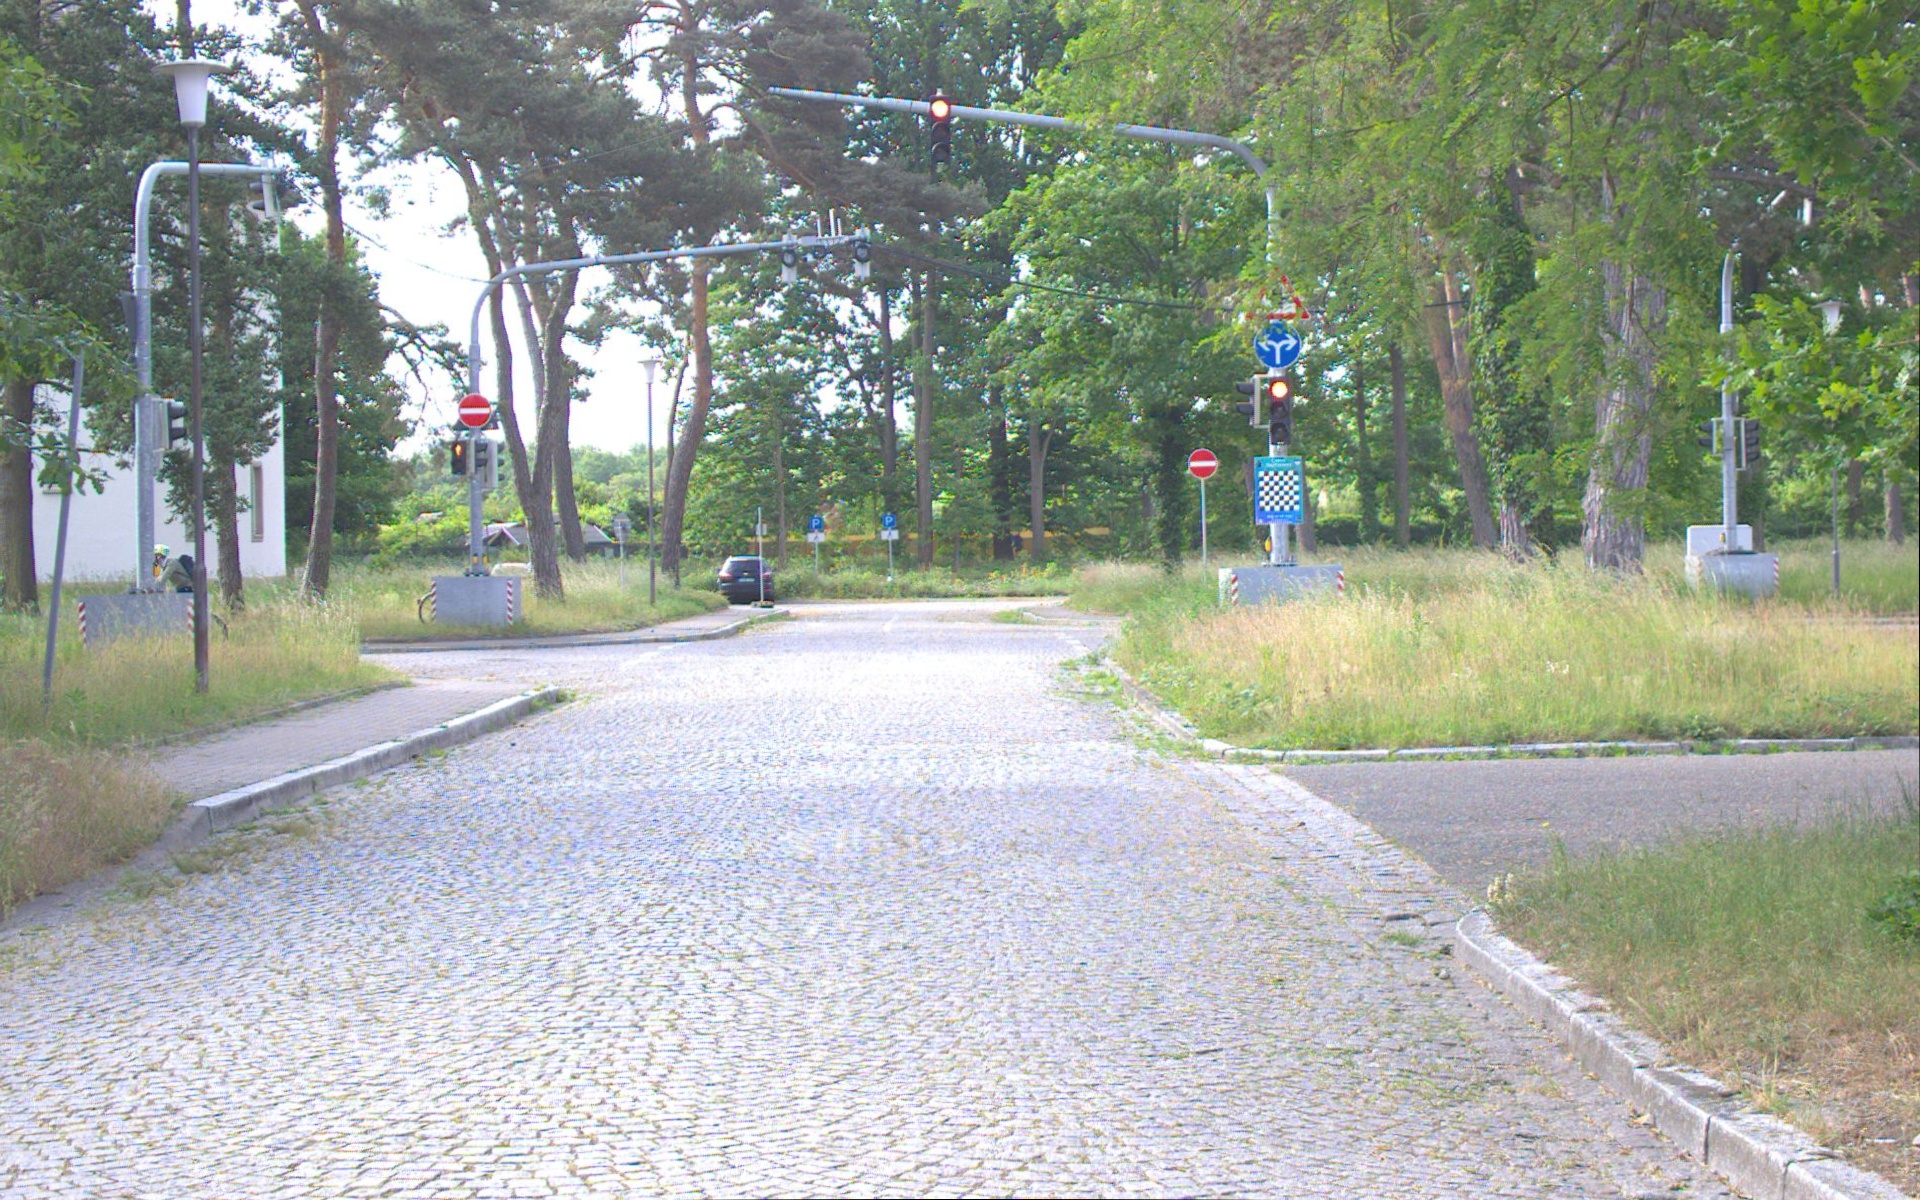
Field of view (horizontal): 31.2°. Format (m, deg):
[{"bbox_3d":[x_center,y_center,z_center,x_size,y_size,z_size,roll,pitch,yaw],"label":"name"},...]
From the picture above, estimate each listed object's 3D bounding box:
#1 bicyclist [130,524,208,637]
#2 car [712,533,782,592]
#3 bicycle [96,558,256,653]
[{"bbox_3d":[-12.059,-0.296,52.411,0.920,1.691,0.957,-1,0,-27],"label":"bicyclist"},{"bbox_3d":[-6.874,-1.224,111.302,2.056,1.840,4.000,-1,1,-1],"label":"car"},{"bbox_3d":[-11.961,0.074,52.468,2.178,1.382,0.939,-1,1,-28],"label":"bicycle"}]
